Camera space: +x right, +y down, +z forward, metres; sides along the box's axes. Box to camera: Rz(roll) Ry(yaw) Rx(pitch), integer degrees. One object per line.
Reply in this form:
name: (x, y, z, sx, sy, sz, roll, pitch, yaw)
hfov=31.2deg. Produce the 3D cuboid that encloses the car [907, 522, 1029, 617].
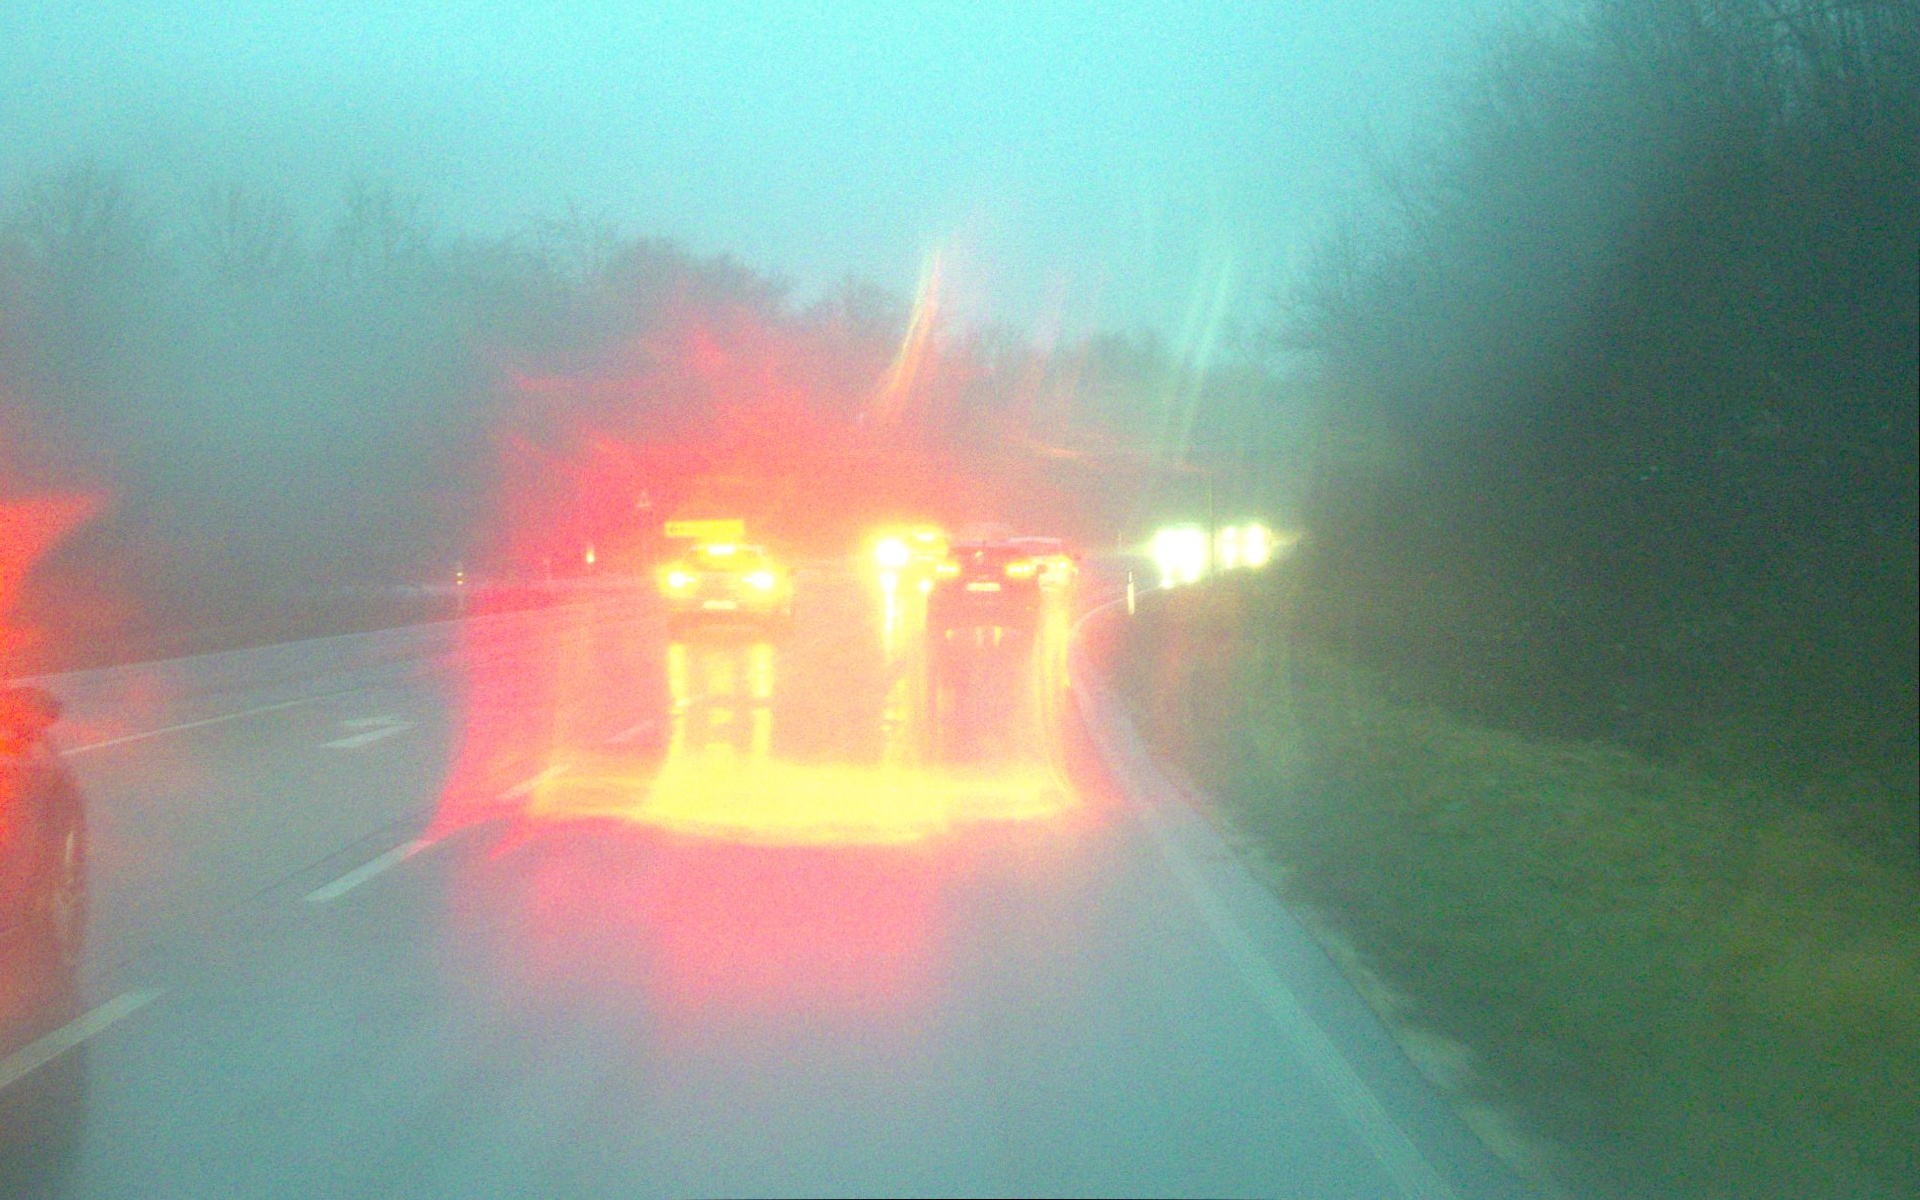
car: (0.162, -0.508, 54.453, 1.679, 1.385, 4.098, -1, 2, 3)

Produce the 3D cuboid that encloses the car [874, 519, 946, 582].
car: (-1.325, -1.358, 92.617, 1.713, 1.621, 4.218, 0, 2, 2)

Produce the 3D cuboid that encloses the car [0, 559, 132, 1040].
car: (-3.681, 0.592, 10.325, 1.632, 1.416, 4.172, 1, 1, -4)

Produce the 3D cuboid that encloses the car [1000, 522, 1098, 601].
car: (2.022, -0.881, 77.314, 1.679, 1.669, 4.097, -1, 2, 9)

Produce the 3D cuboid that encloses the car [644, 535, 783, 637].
car: (-3.942, -0.260, 55.636, 2.005, 1.550, 4.517, 1, 1, -1)
